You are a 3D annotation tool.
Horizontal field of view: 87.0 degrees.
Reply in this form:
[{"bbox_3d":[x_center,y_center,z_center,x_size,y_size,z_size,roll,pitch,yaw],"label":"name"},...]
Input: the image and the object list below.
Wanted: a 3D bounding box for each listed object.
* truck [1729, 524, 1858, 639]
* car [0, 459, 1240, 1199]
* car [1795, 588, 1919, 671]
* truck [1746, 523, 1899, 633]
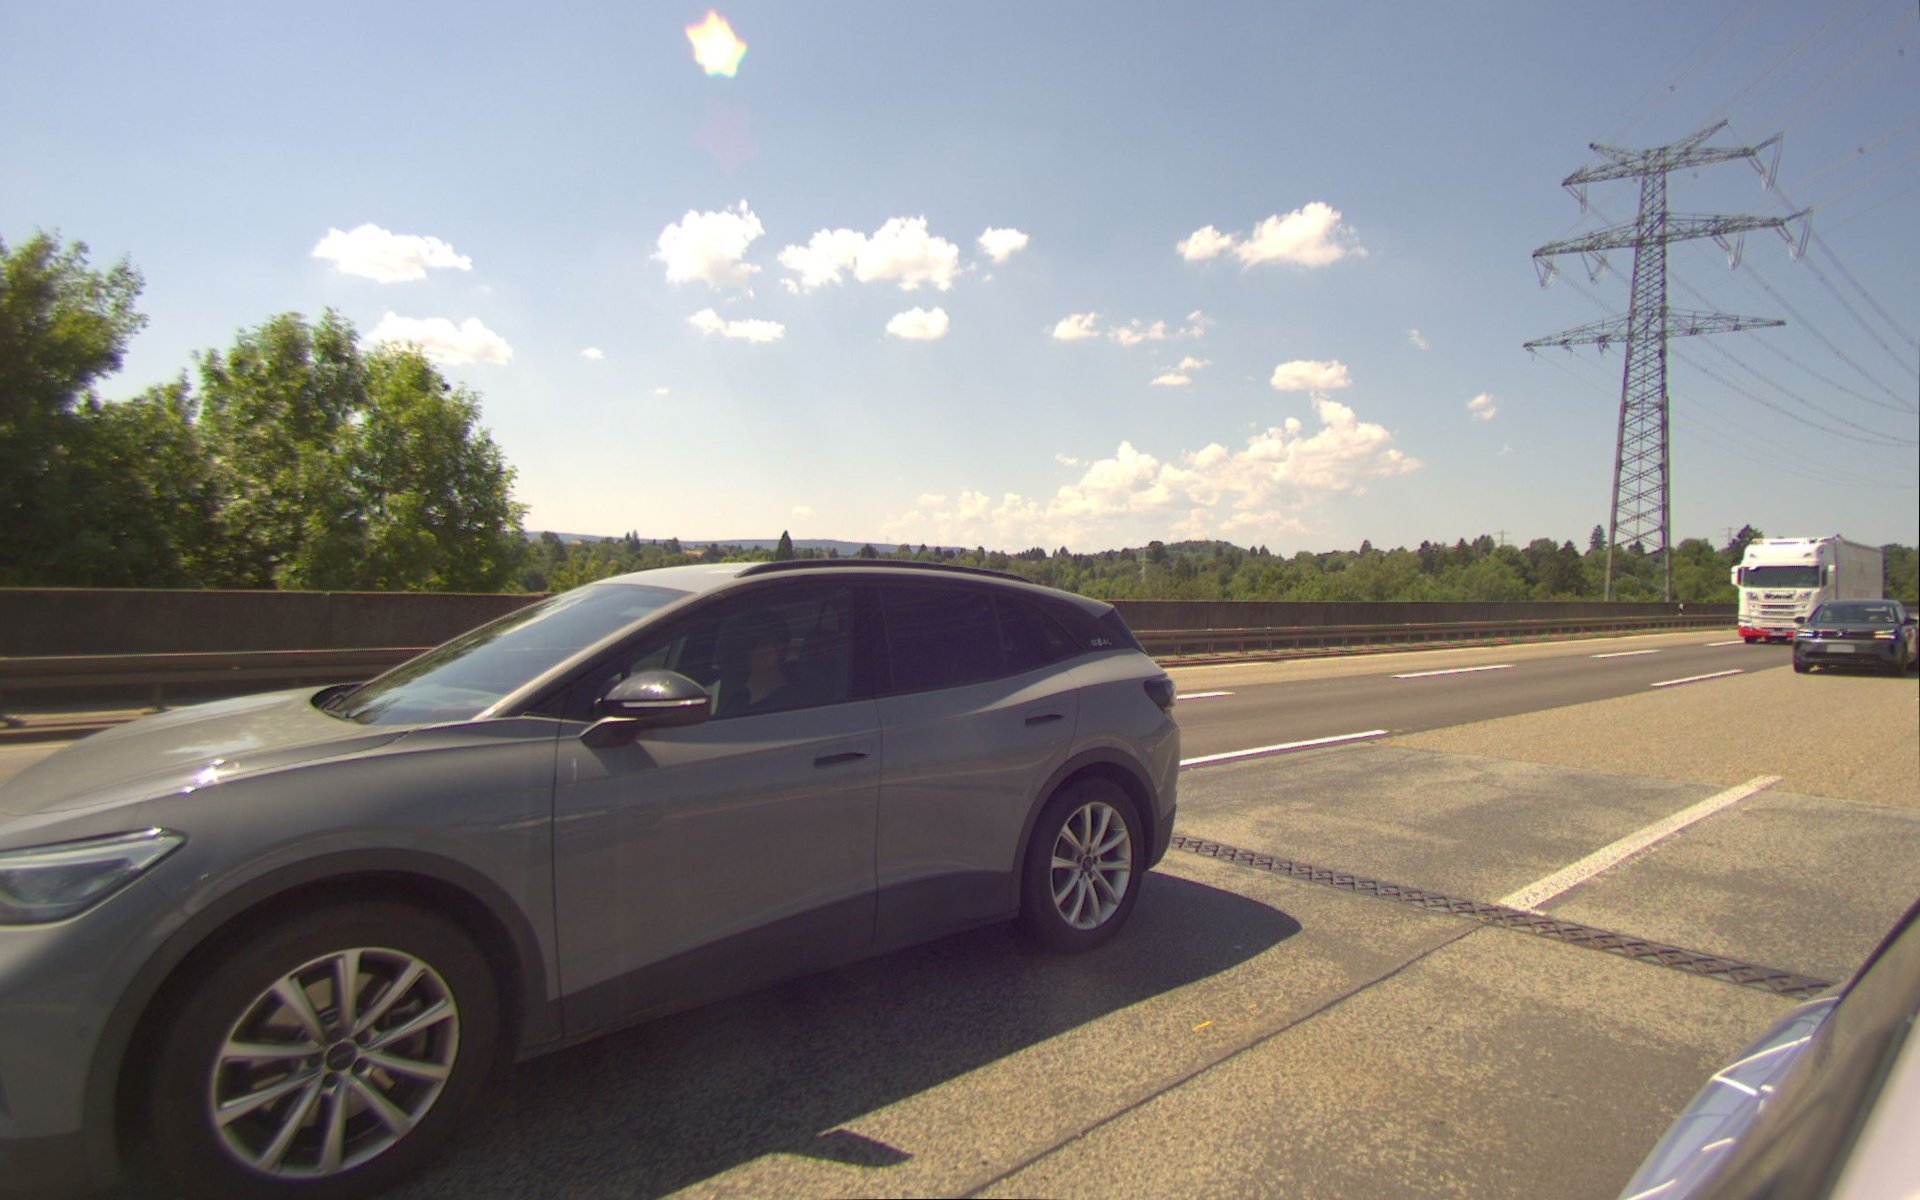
[{"bbox_3d":[30.613,-0.600,37.176,3.779,3.958,3.074,1,-1,-41],"label":"truck"},{"bbox_3d":[-0.975,0.578,4.023,4.505,1.657,1.871,1,-1,-41],"label":"car"},{"bbox_3d":[20.105,0.627,22.352,3.976,1.667,1.954,1,-1,-41],"label":"car"},{"bbox_3d":[35.774,-0.698,41.713,12.284,3.958,3.073,1,-1,-41],"label":"truck"}]
